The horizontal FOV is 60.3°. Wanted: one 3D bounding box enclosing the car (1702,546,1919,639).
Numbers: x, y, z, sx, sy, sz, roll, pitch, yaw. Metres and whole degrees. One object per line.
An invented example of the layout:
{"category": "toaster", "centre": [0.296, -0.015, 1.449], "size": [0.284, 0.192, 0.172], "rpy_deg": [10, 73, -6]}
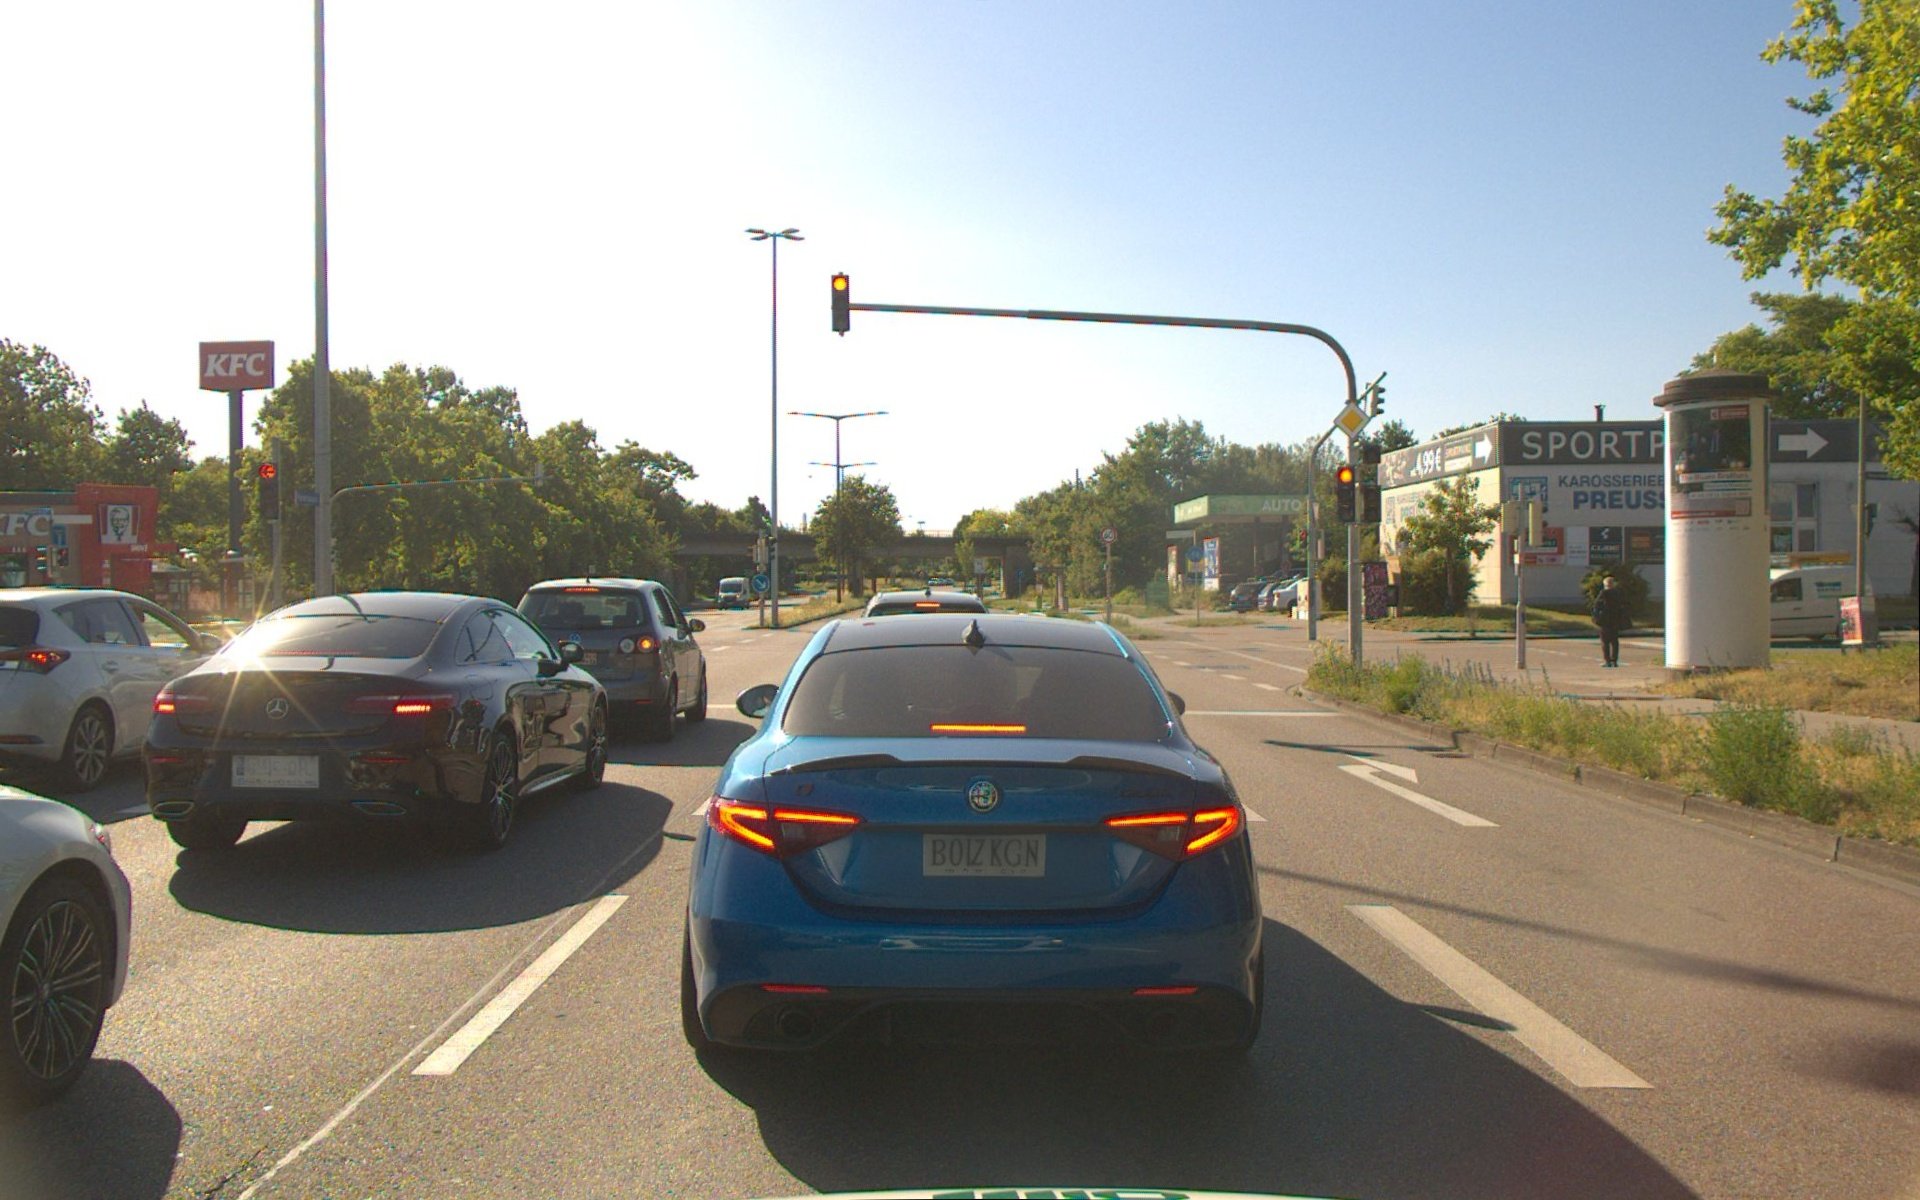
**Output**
{"category": "car", "centre": [20.603, -0.190, 40.159], "size": [4.318, 2.183, 1.998], "rpy_deg": [0, 0, -4]}

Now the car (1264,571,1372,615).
{"category": "car", "centre": [14.346, -0.277, 66.322], "size": [3.923, 1.736, 1.687], "rpy_deg": [0, 0, -17]}

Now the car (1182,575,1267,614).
{"category": "car", "centre": [11.879, -0.259, 74.331], "size": [3.428, 1.736, 1.688], "rpy_deg": [0, 0, -16]}

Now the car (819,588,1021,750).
{"category": "car", "centre": [-0.392, 0.616, 17.054], "size": [1.828, 1.475, 3.931], "rpy_deg": [0, 0, -1]}

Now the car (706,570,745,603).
{"category": "car", "centre": [-18.452, -1.064, 130.409], "size": [2.383, 2.469, 5.828], "rpy_deg": [0, 0, -2]}

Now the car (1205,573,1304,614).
{"category": "car", "centre": [12.674, -0.265, 71.152], "size": [3.928, 1.736, 1.686], "rpy_deg": [0, 0, -20]}

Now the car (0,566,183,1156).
{"category": "car", "centre": [-3.348, 0.691, 3.096], "size": [1.732, 1.535, 4.460], "rpy_deg": [0, 0, -1]}

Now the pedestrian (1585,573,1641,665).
{"category": "pedestrian", "centre": [12.689, 0.357, 32.150], "size": [0.805, 1.752, 0.854], "rpy_deg": [0, 0, 6]}

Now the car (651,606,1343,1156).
{"category": "car", "centre": [0.073, 0.754, 6.352], "size": [1.828, 1.409, 3.931], "rpy_deg": [0, 0, -1]}

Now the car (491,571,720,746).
{"category": "car", "centre": [-3.604, 0.532, 17.454], "size": [1.615, 1.626, 3.931], "rpy_deg": [0, 0, -1]}

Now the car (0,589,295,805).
{"category": "car", "centre": [-7.124, 0.639, 13.315], "size": [1.819, 1.454, 4.403], "rpy_deg": [0, 0, -1]}

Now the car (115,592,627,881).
{"category": "car", "centre": [-3.413, 0.678, 10.569], "size": [1.732, 1.439, 4.460], "rpy_deg": [0, 0, -1]}
